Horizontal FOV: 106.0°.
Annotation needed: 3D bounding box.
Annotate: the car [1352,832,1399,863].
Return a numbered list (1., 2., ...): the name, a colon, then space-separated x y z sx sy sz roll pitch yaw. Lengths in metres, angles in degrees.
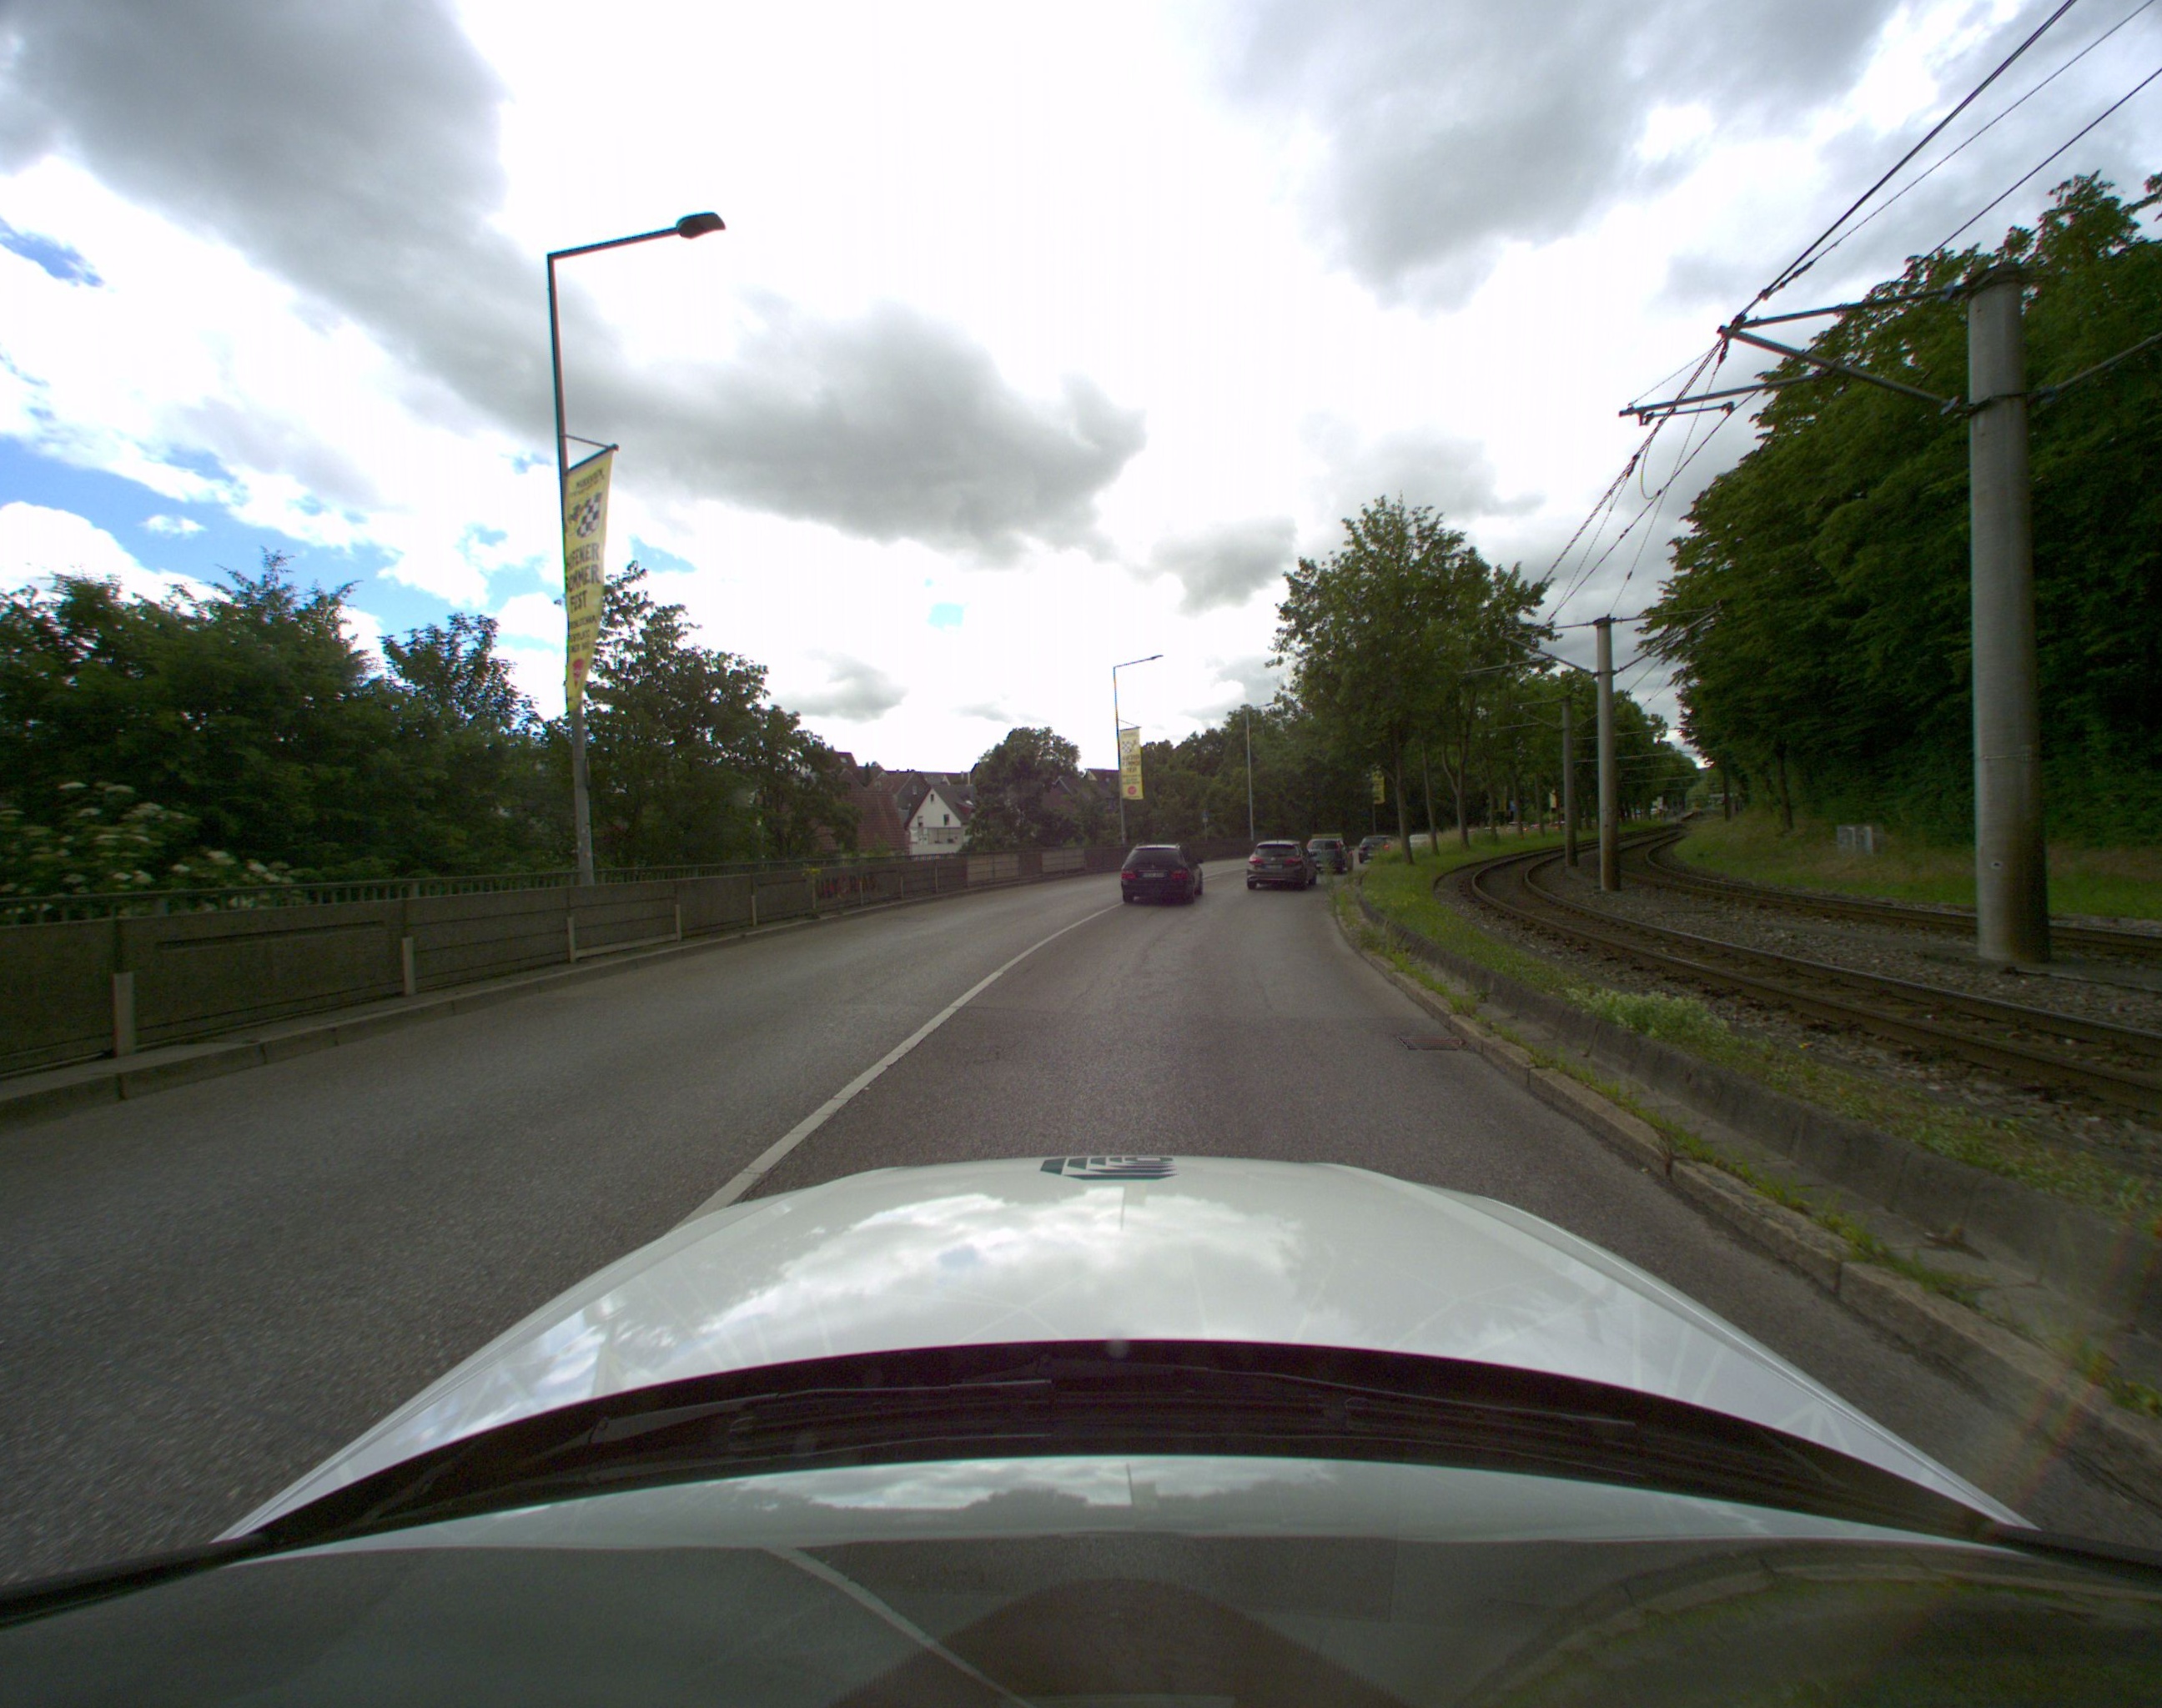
1. car: 15.603 -0.367 43.062 1.563 1.538 4.025 -2 0 30

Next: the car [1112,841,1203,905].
1. car: 2.136 0.420 21.625 1.839 1.486 4.437 0 1 13

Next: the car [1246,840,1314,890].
1. car: 6.486 0.290 26.259 1.760 1.494 4.020 0 1 19

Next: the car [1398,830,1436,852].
1. car: 21.727 -0.853 52.527 1.485 1.364 3.610 -2 0 35

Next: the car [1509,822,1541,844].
1. car: 41.411 -1.961 75.901 1.909 1.859 4.026 -2 0 39

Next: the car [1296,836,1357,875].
1. car: 10.559 0.038 34.832 1.875 1.574 4.023 -1 0 25
